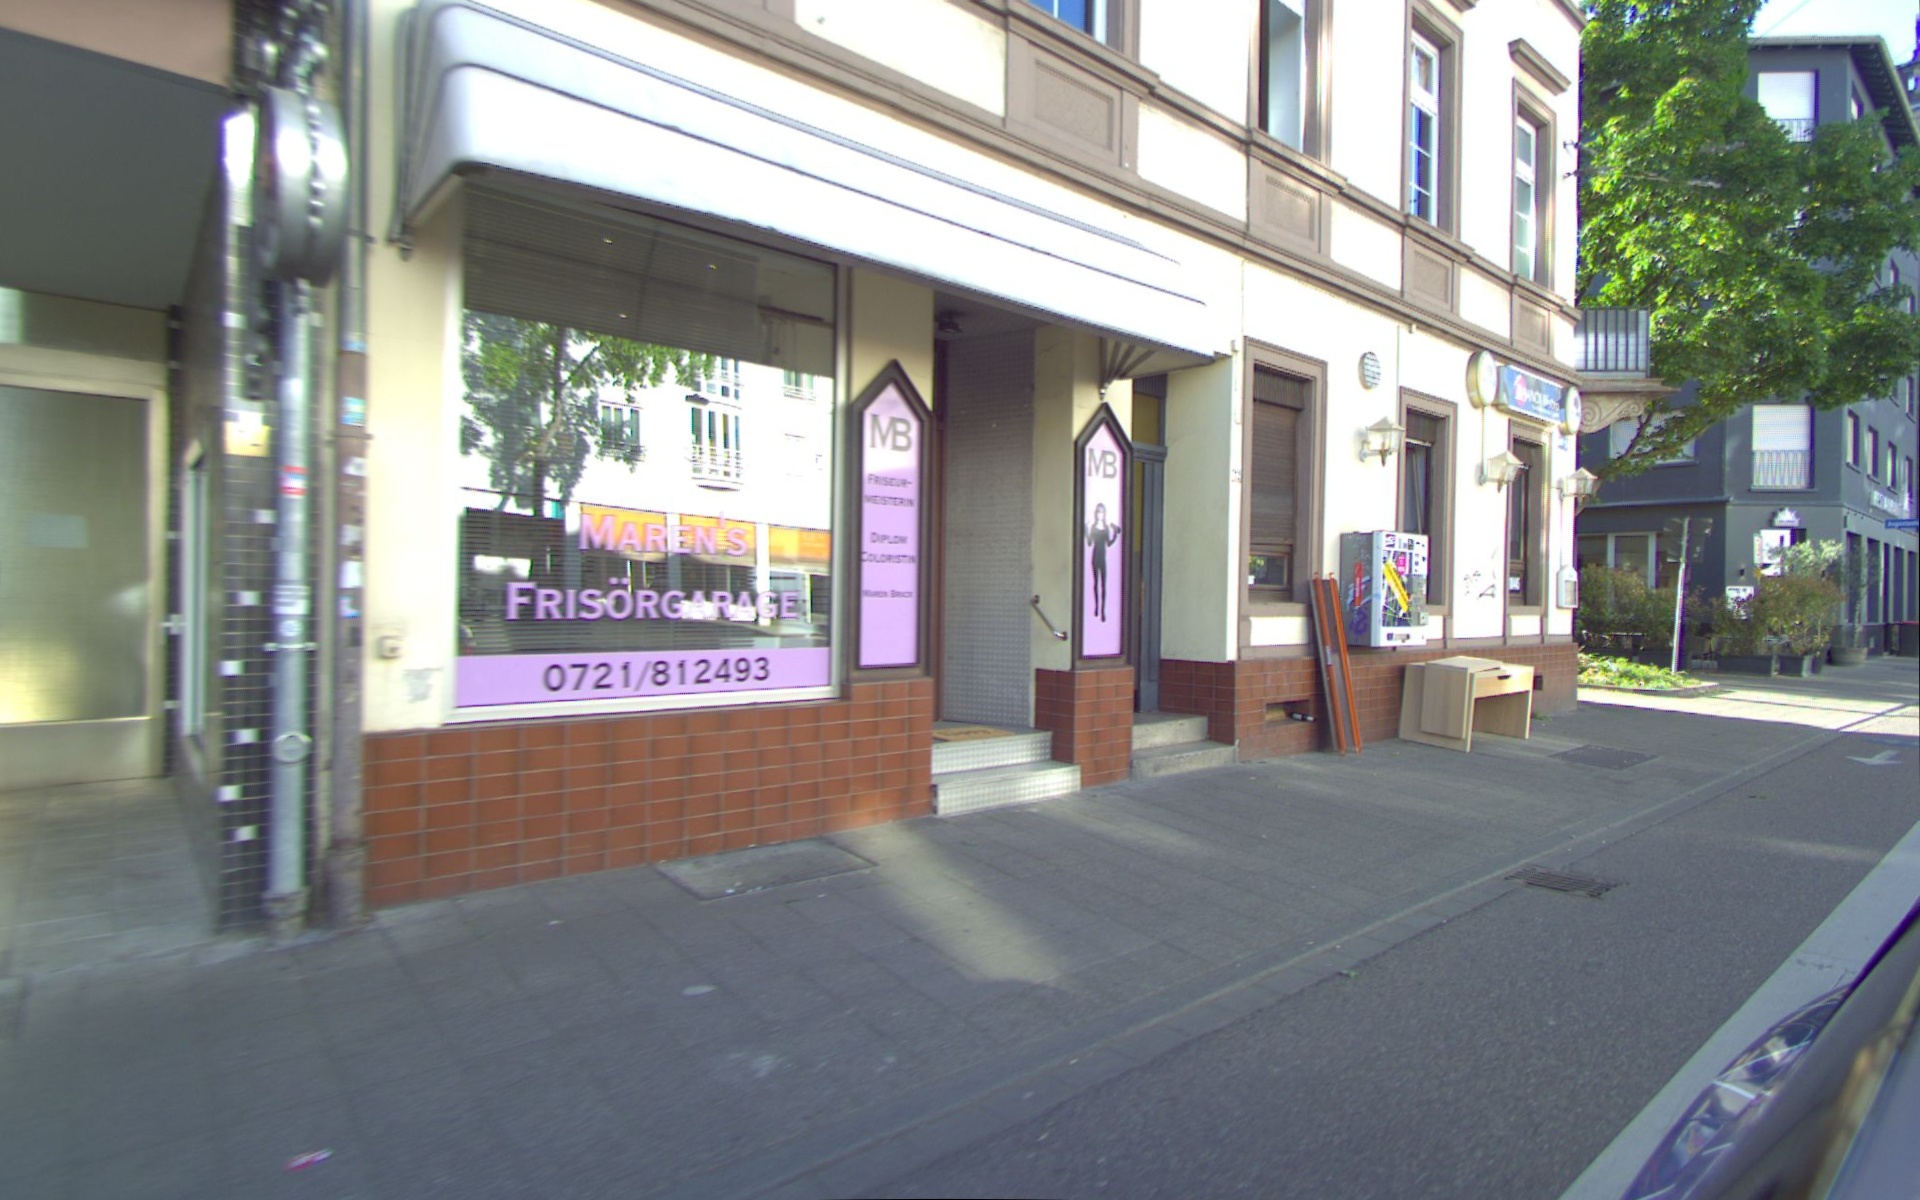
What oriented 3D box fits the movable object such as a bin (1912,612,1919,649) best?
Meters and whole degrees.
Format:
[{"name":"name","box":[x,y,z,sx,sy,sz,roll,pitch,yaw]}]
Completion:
[{"name":"movable object such as a bin","box":[28.811,0.902,30.060,0.626,1.082,0.716,1,-1,-41]}]

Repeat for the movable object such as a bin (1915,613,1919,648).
[{"name":"movable object such as a bin","box":[29.426,0.929,30.624,0.626,1.082,0.716,1,-1,-41]}]
